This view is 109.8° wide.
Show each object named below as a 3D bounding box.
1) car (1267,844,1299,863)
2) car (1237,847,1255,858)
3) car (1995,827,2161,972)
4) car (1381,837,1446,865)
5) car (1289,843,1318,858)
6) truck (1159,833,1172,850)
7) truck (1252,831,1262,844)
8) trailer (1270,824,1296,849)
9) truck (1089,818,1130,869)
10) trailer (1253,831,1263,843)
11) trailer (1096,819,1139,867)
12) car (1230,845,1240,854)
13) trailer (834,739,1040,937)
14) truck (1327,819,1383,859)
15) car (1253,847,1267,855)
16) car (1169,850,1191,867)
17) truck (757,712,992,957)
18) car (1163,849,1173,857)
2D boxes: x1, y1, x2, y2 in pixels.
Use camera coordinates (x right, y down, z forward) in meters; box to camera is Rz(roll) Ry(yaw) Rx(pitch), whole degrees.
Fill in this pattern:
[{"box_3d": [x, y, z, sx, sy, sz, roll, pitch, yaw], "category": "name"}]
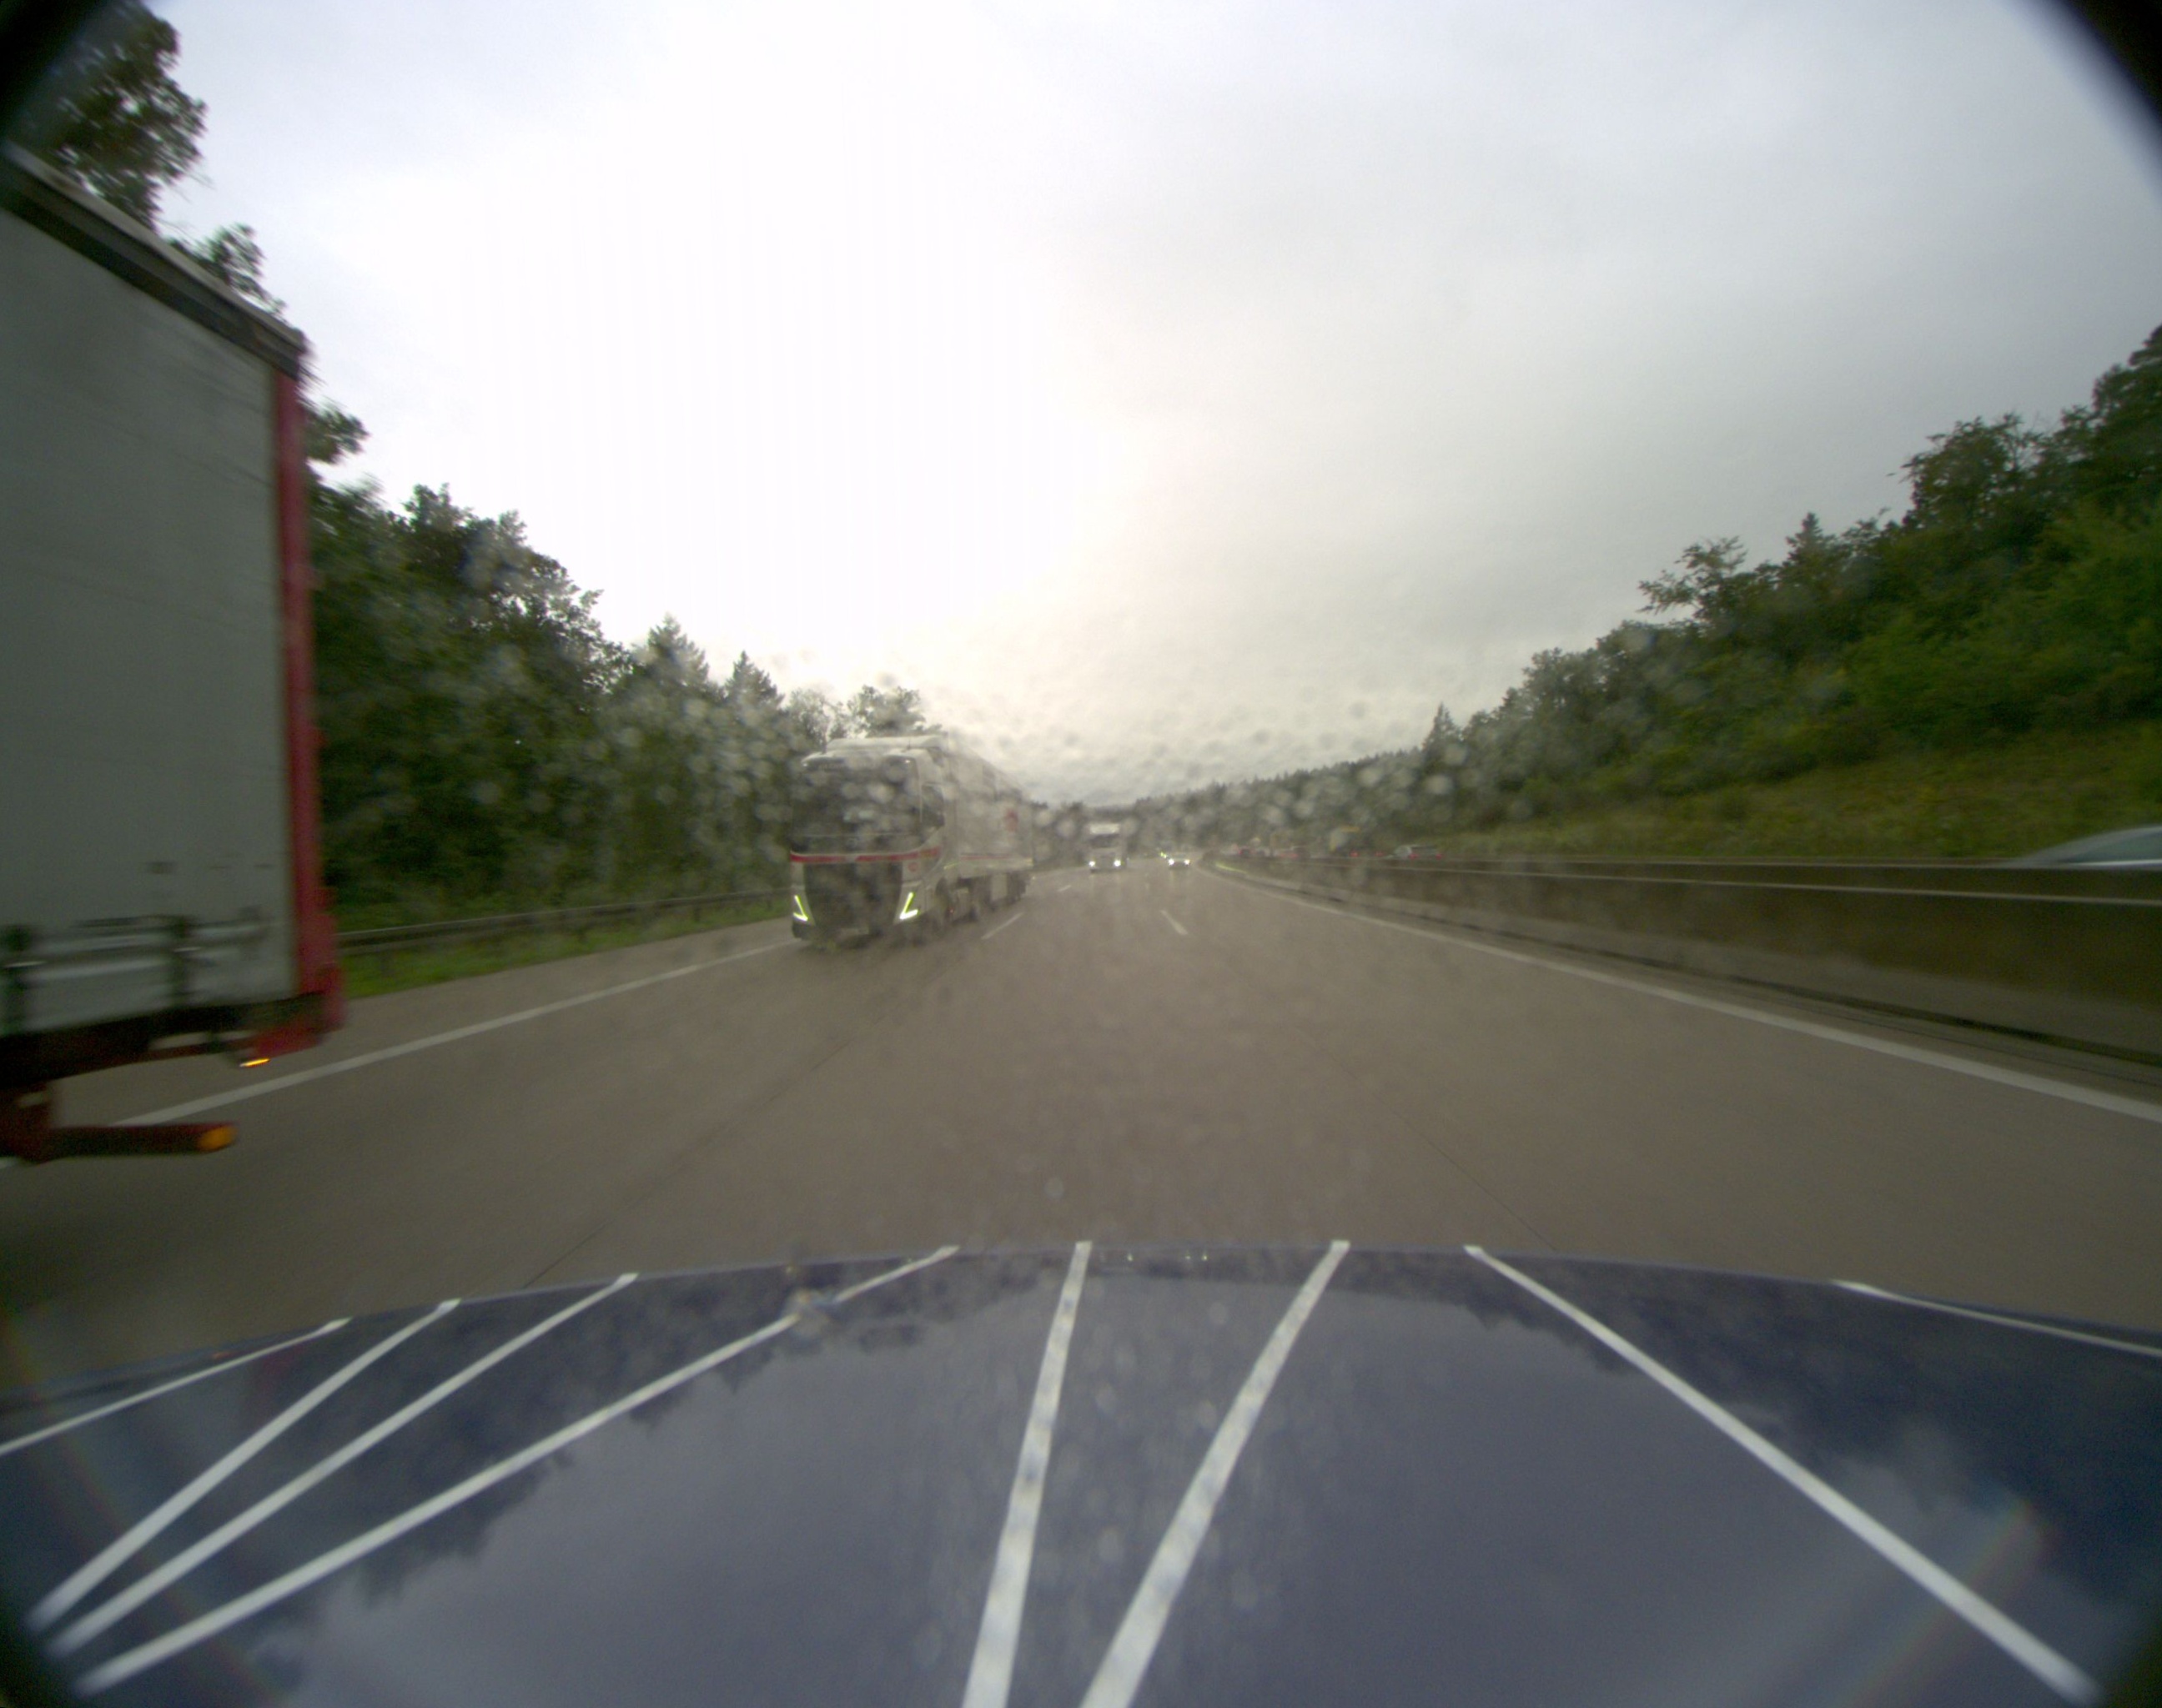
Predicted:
[{"box_3d": [16.240, -0.058, 61.252, 1.657, 1.338, 4.087, -2, 0, 4], "category": "car"}, {"box_3d": [21.588, -0.196, 99.553, 1.657, 1.338, 4.087, -2, 0, 4], "category": "car"}, {"box_3d": [12.521, 0.470, 7.636, 1.869, 1.539, 4.000, -2, 0, 1], "category": "car"}, {"box_3d": [17.331, -0.165, 39.795, 1.657, 1.338, 4.086, -2, 0, 1], "category": "car"}, {"box_3d": [21.637, -0.360, 74.038, 1.808, 1.338, 4.768, -2, 0, 6], "category": "car"}, {"box_3d": [21.031, -3.069, 189.293, 2.736, 4.127, 8.625, -3, 0, 6], "category": "truck"}, {"box_3d": [55.214, -5.103, 238.489, 2.568, 3.646, 10.499, -3, 0, 11], "category": "truck"}, {"box_3d": [33.446, -2.815, 126.169, 3.019, 3.852, 13.710, -2, 0, 11], "category": "trailer"}, {"box_3d": [2.482, -0.868, 63.900, 2.726, 4.018, 5.755, -1, 1, 8], "category": "truck"}, {"box_3d": [53.709, -5.120, 230.623, 2.550, 3.646, 8.236, -3, 0, 11], "category": "trailer"}, {"box_3d": [3.607, -1.031, 71.480, 2.684, 4.018, 13.712, 0, 1, 9], "category": "trailer"}, {"box_3d": [29.356, -0.888, 144.810, 1.656, 1.470, 4.548, -2, 0, 10], "category": "car"}, {"box_3d": [-3.431, -0.374, 22.891, 2.740, 4.080, 13.684, -2, 0, 3], "category": "trailer"}, {"box_3d": [24.437, -1.333, 68.276, 2.627, 3.277, 9.386, -2, 0, 7], "category": "truck"}, {"box_3d": [27.348, -0.437, 115.884, 1.656, 1.191, 4.547, -2, 0, 8], "category": "car"}, {"box_3d": [8.753, 0.363, 67.658, 1.716, 1.399, 4.937, -2, 0, 5], "category": "car"}, {"box_3d": [-3.893, -0.336, 15.983, 2.805, 4.080, 5.969, -2, 1, 4], "category": "truck"}, {"box_3d": [15.744, -0.170, 137.244, 1.715, 1.399, 4.939, -2, 0, 8], "category": "car"}]
